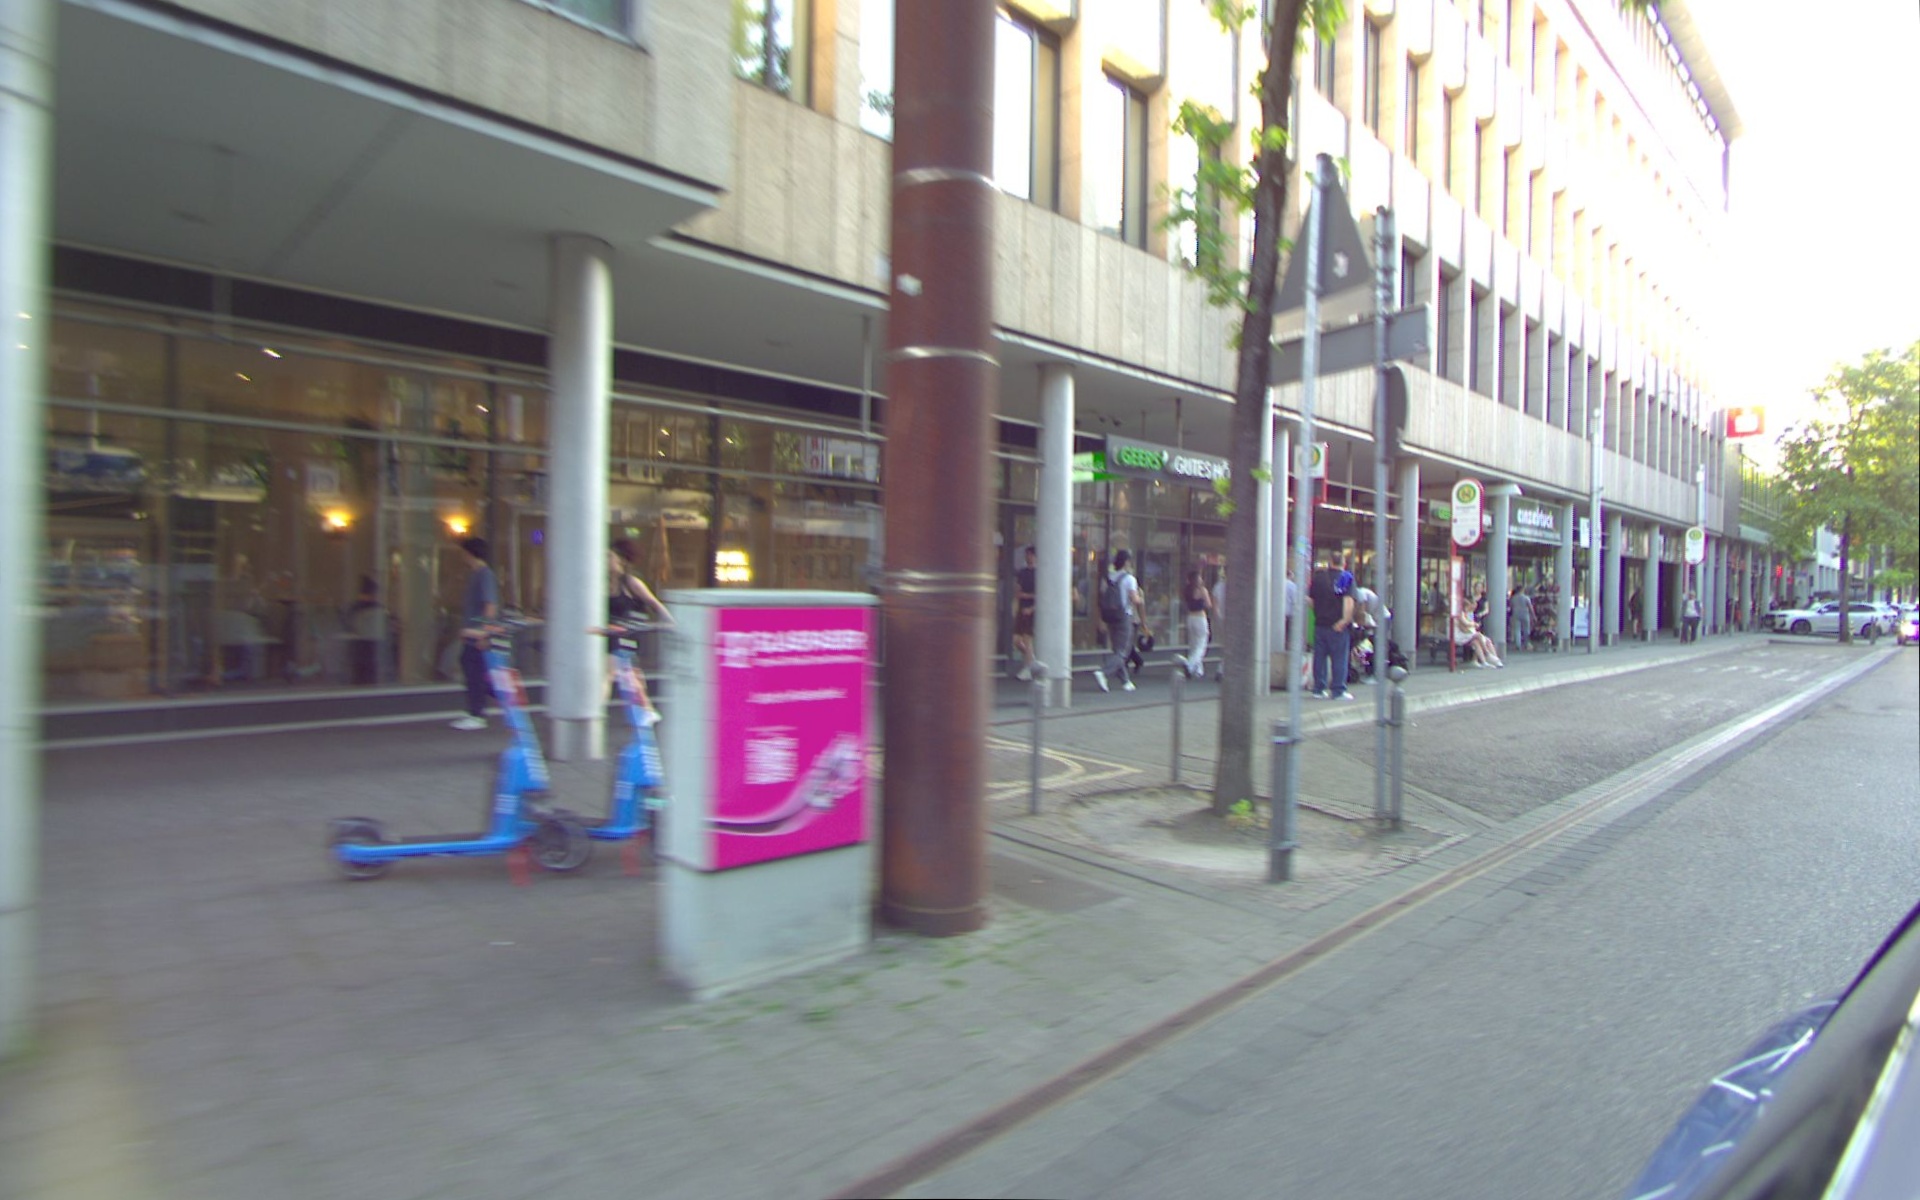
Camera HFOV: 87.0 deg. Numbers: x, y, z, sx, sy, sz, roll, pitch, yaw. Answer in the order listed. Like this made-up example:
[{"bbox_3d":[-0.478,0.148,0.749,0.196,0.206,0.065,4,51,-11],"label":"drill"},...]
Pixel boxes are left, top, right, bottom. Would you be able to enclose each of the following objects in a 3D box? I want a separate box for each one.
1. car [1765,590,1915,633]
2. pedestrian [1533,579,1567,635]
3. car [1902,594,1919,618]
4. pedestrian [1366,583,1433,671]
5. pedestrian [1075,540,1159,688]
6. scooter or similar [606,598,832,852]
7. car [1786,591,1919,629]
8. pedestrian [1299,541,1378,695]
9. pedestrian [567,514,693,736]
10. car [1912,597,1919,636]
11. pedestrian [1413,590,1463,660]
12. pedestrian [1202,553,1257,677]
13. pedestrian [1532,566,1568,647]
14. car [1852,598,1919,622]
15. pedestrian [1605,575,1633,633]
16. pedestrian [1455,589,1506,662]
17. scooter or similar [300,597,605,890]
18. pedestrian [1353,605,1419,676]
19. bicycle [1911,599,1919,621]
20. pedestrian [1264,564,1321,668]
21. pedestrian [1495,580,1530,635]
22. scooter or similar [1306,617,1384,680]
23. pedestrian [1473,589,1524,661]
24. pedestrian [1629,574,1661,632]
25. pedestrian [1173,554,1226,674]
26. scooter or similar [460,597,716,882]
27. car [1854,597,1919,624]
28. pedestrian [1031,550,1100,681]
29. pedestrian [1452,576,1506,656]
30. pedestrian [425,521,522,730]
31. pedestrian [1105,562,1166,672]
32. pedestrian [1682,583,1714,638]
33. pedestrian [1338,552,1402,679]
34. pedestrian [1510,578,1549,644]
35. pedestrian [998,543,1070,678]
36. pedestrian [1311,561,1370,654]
[{"bbox_3d":[39.170,0.487,45.184,4.571,1.650,1.909,3,0,15],"label":"car"},{"bbox_3d":[17.951,0.209,30.809,0.776,1.664,0.681,0,2,-45],"label":"pedestrian"},{"bbox_3d":[75.346,0.413,78.075,3.918,1.809,1.867,-1,-1,-9],"label":"car"},{"bbox_3d":[7.226,0.428,16.644,0.651,1.398,0.814,0,0,-42],"label":"pedestrian"},{"bbox_3d":[2.049,0.161,13.218,0.865,1.862,0.669,0,2,-44],"label":"pedestrian"},{"bbox_3d":[-1.332,0.644,5.626,1.100,1.267,0.494,2,1,17],"label":"scooter or similar"},{"bbox_3d":[44.277,0.471,50.280,4.567,1.607,1.912,3,2,12],"label":"car"},{"bbox_3d":[4.768,0.202,12.750,0.696,1.862,0.669,0,2,-44],"label":"pedestrian"},{"bbox_3d":[-2.852,0.189,8.735,0.761,1.794,0.773,0,2,-45],"label":"pedestrian"},{"bbox_3d":[38.003,0.640,38.985,4.491,1.426,1.795,-1,1,-45],"label":"car"},{"bbox_3d":[9.178,0.465,19.446,0.523,1.331,0.719,0,0,-42],"label":"pedestrian"},{"bbox_3d":[4.086,0.210,15.348,0.594,1.828,0.539,0,1,-45],"label":"pedestrian"},{"bbox_3d":[14.678,0.144,25.164,0.644,1.968,0.578,0,2,-44],"label":"pedestrian"},{"bbox_3d":[62.045,0.645,67.007,3.945,1.530,1.855,-2,-1,17],"label":"car"},{"bbox_3d":[22.190,0.115,34.078,0.672,1.912,0.617,0,2,-42],"label":"pedestrian"},{"bbox_3d":[9.761,0.468,18.980,0.523,1.331,0.719,0,0,-42],"label":"pedestrian"},{"bbox_3d":[-2.304,0.639,4.665,1.167,1.267,0.394,2,1,-5],"label":"scooter or similar"},{"bbox_3d":[6.674,0.616,15.856,0.535,1.055,0.814,0,0,-42],"label":"pedestrian"},{"bbox_3d":[50.225,0.519,51.964,0.717,1.087,1.869,-1,0,-19],"label":"bicycle"},{"bbox_3d":[5.583,0.255,16.984,0.639,1.682,0.649,0,1,-43],"label":"pedestrian"},{"bbox_3d":[16.986,0.220,31.103,0.805,1.664,0.711,0,2,-45],"label":"pedestrian"},{"bbox_3d":[5.761,0.714,15.160,0.673,0.895,0.837,0,0,-29],"label":"scooter or similar"},{"bbox_3d":[10.238,0.465,19.252,0.515,1.331,0.719,0,0,-42],"label":"pedestrian"},{"bbox_3d":[23.258,0.094,34.346,0.783,1.912,0.708,0,2,-43],"label":"pedestrian"},{"bbox_3d":[3.736,0.207,15.800,0.594,1.828,0.539,0,1,-45],"label":"pedestrian"},{"bbox_3d":[-1.846,0.644,5.023,1.175,1.267,0.391,2,1,18],"label":"scooter or similar"},{"bbox_3d":[65.176,0.724,70.445,3.954,1.809,1.851,-2,-1,23],"label":"car"},{"bbox_3d":[1.487,0.201,14.201,0.761,1.774,0.582,0,1,-45],"label":"pedestrian"},{"bbox_3d":[10.557,0.307,20.587,0.723,1.589,0.725,0,2,-42],"label":"pedestrian"},{"bbox_3d":[-4.291,0.204,8.925,0.607,1.753,0.570,0,1,-45],"label":"pedestrian"},{"bbox_3d":[2.774,0.247,15.974,0.669,1.682,0.649,0,1,-43],"label":"pedestrian"},{"bbox_3d":[22.121,0.313,30.328,0.628,1.608,0.669,0,-1,-44],"label":"pedestrian"},{"bbox_3d":[6.202,0.215,15.300,0.656,1.862,0.640,0,2,-43],"label":"pedestrian"},{"bbox_3d":[14.923,0.266,26.514,0.710,1.682,0.688,0,2,-43],"label":"pedestrian"},{"bbox_3d":[1.081,0.135,14.732,0.761,1.906,0.687,0,1,-45],"label":"pedestrian"},{"bbox_3d":[8.089,0.141,21.522,0.884,1.912,0.845,0,2,-43],"label":"pedestrian"}]
